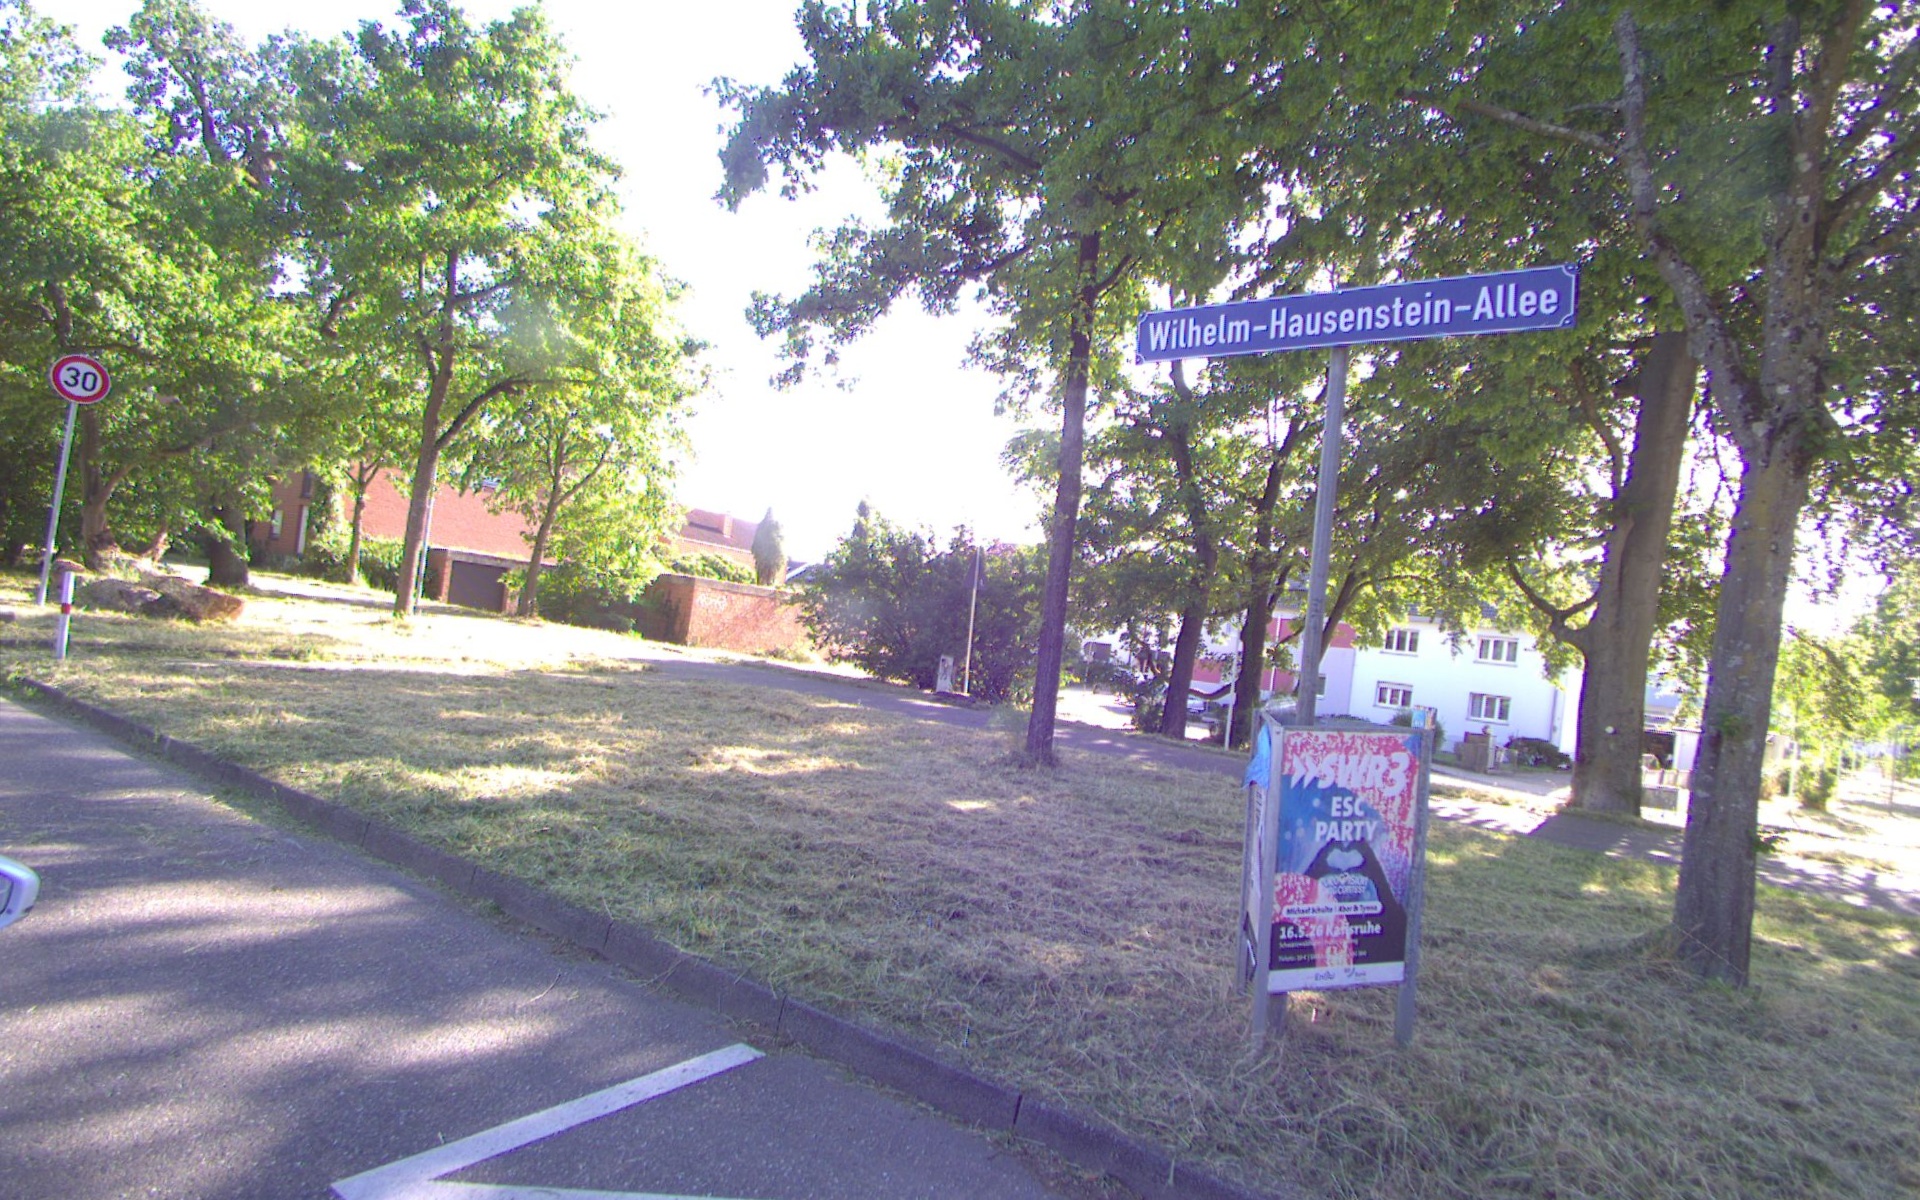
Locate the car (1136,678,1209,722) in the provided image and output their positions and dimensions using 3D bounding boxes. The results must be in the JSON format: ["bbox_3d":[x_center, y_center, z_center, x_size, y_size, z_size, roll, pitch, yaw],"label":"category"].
[{"bbox_3d":[10.094,4.745,47.963,1.514,1.569,3.160,9,-2,-30],"label":"car"}]
